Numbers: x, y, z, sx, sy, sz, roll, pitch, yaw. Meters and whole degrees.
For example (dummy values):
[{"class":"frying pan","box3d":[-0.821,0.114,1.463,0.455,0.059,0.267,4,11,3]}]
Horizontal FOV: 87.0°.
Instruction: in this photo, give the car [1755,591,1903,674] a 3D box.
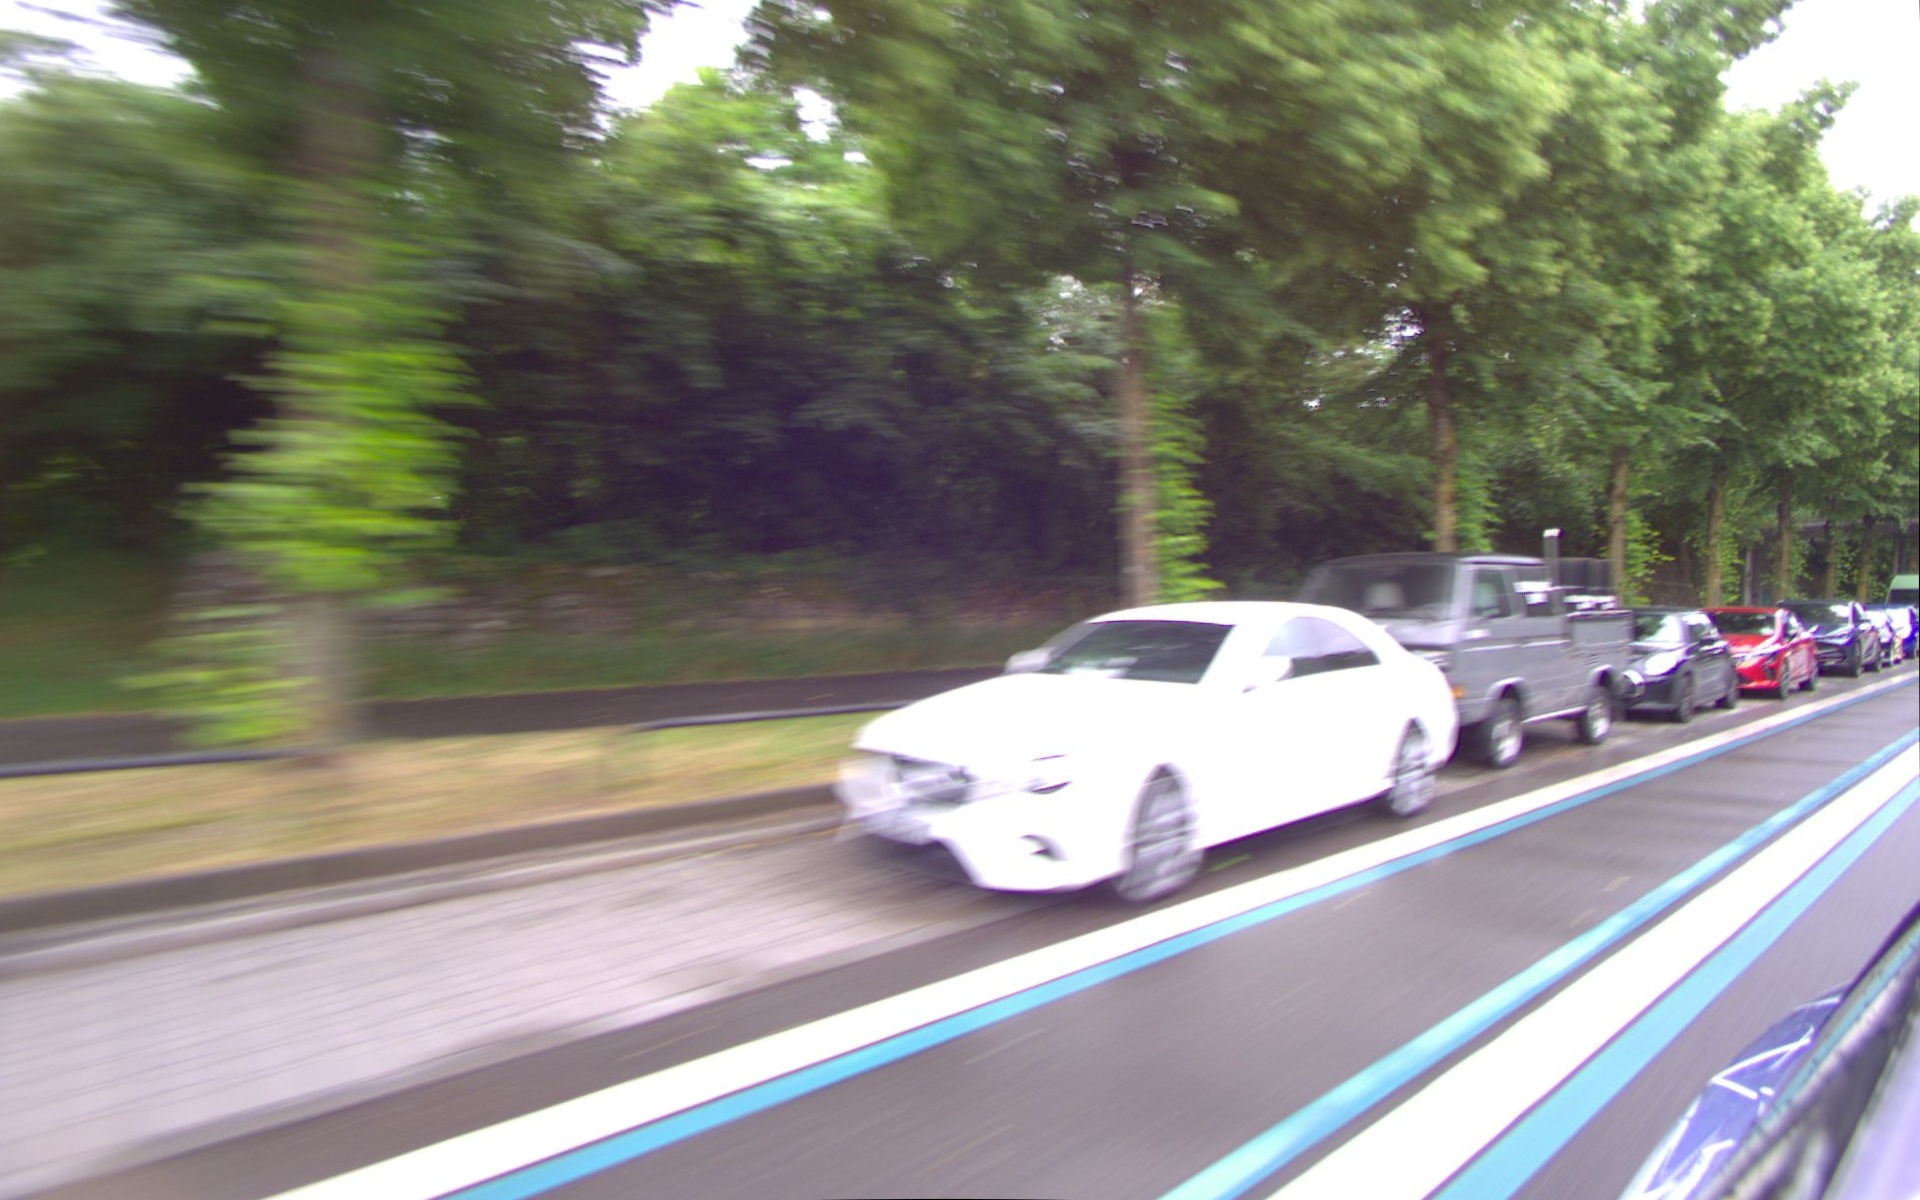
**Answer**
[{"class":"car","box3d":[18.780,0.642,21.807,4.419,1.610,1.759,0,-1,-40]}]

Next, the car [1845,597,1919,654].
[{"class":"car","box3d":[26.976,0.697,29.141,3.767,1.533,1.689,0,-1,-40]}]

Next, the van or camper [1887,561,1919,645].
[{"class":"van or camper","box3d":[34.144,0.120,35.236,6.780,2.764,2.045,0,-1,-41]}]

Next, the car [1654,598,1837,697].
[{"class":"car","box3d":[13.229,0.713,16.960,4.093,1.471,1.688,0,-1,-41]}]

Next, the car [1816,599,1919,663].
[{"class":"car","box3d":[22.897,0.723,25.404,4.076,1.474,1.687,0,-1,-43]}]

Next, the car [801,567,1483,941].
[{"class":"car","box3d":[1.492,0.644,6.531,4.806,1.562,1.791,0,0,-42]}]

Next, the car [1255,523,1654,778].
[{"class":"car","box3d":[5.188,0.399,10.336,4.579,2.048,1.930,0,0,-39]}]

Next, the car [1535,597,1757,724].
[{"class":"car","box3d":[9.325,0.718,13.657,3.681,1.471,1.608,0,-1,-41]}]
